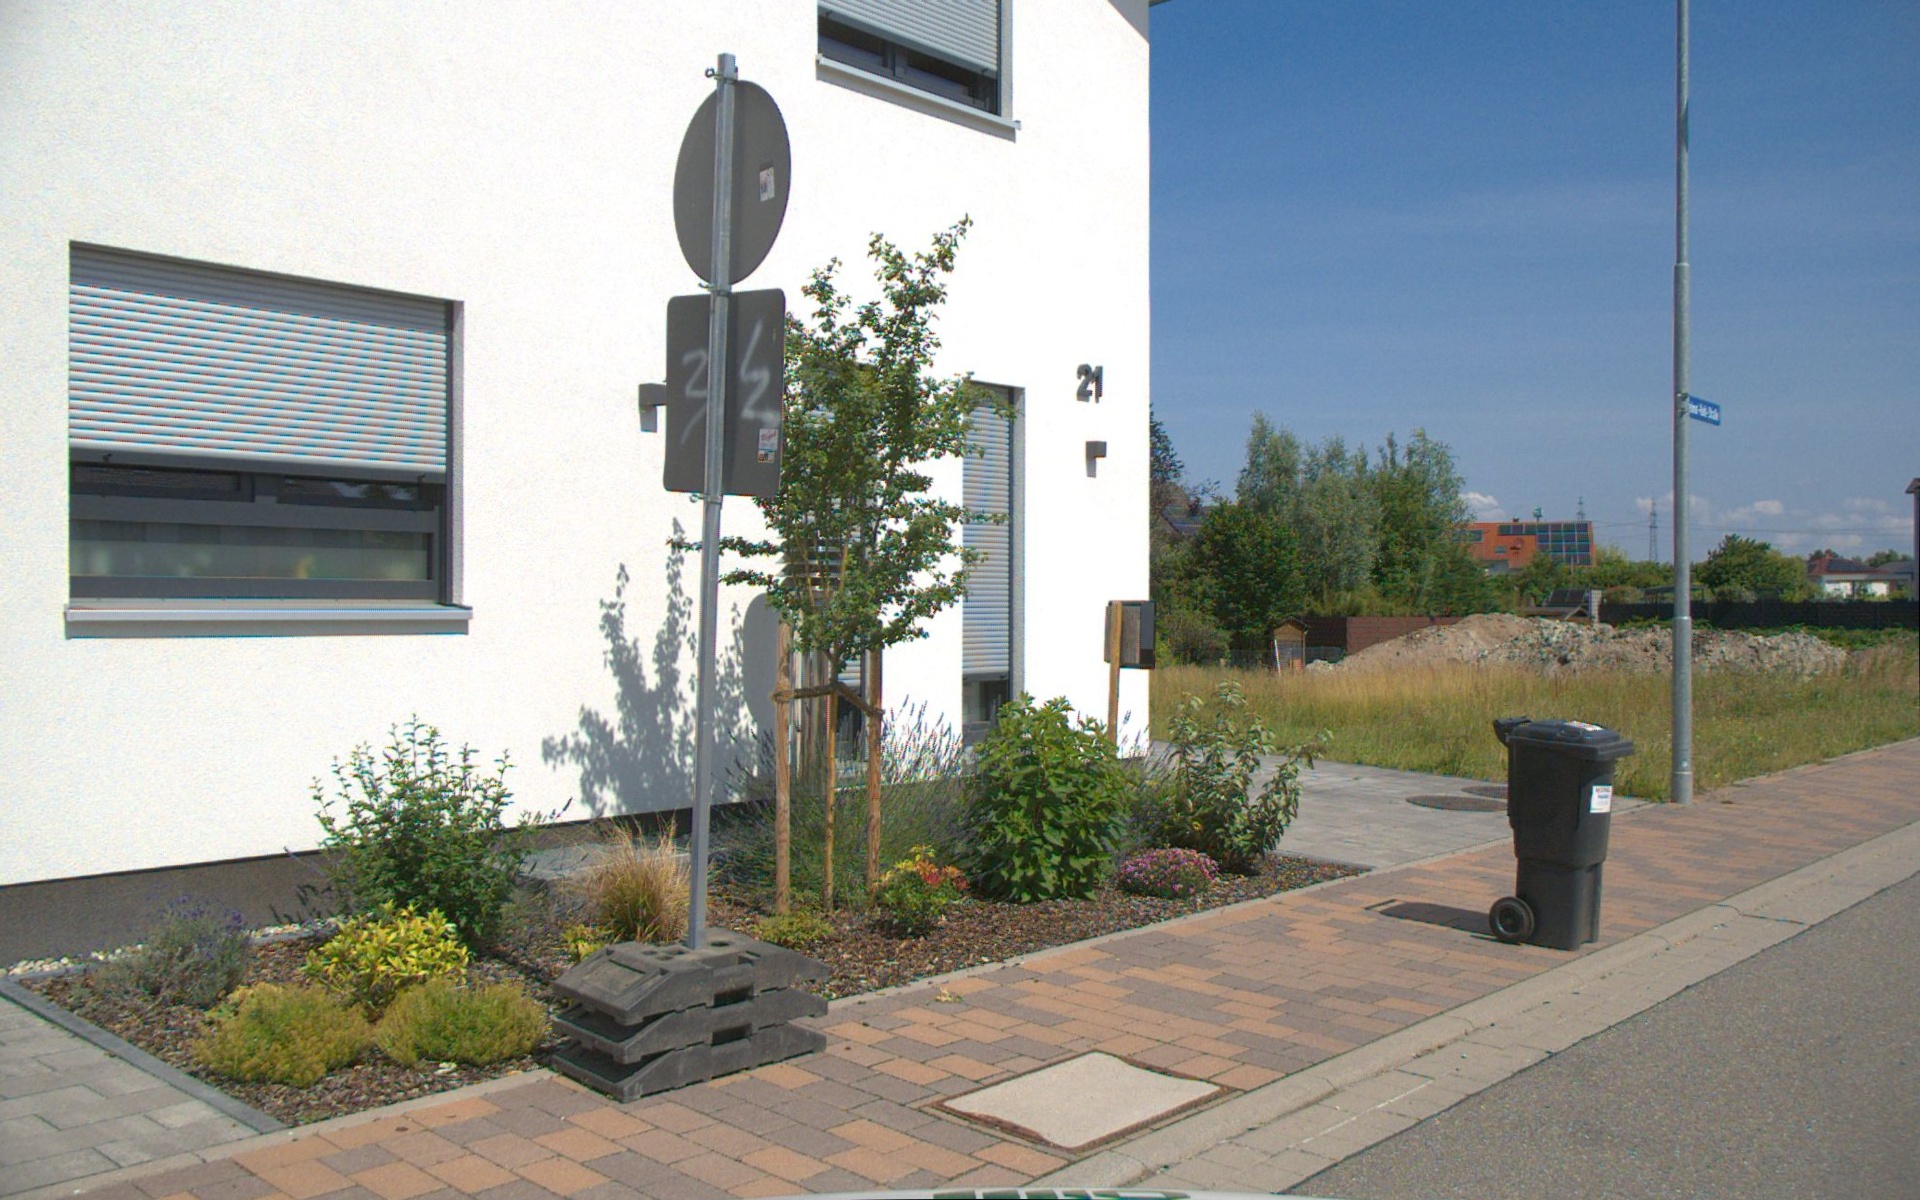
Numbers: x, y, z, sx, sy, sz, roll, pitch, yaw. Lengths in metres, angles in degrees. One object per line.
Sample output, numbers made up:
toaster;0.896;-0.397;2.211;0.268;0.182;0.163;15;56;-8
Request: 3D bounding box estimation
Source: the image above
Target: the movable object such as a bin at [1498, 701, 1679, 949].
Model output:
movable object such as a bin;2.703;0.937;7.111;0.613;0.965;0.498;0;-1;38
